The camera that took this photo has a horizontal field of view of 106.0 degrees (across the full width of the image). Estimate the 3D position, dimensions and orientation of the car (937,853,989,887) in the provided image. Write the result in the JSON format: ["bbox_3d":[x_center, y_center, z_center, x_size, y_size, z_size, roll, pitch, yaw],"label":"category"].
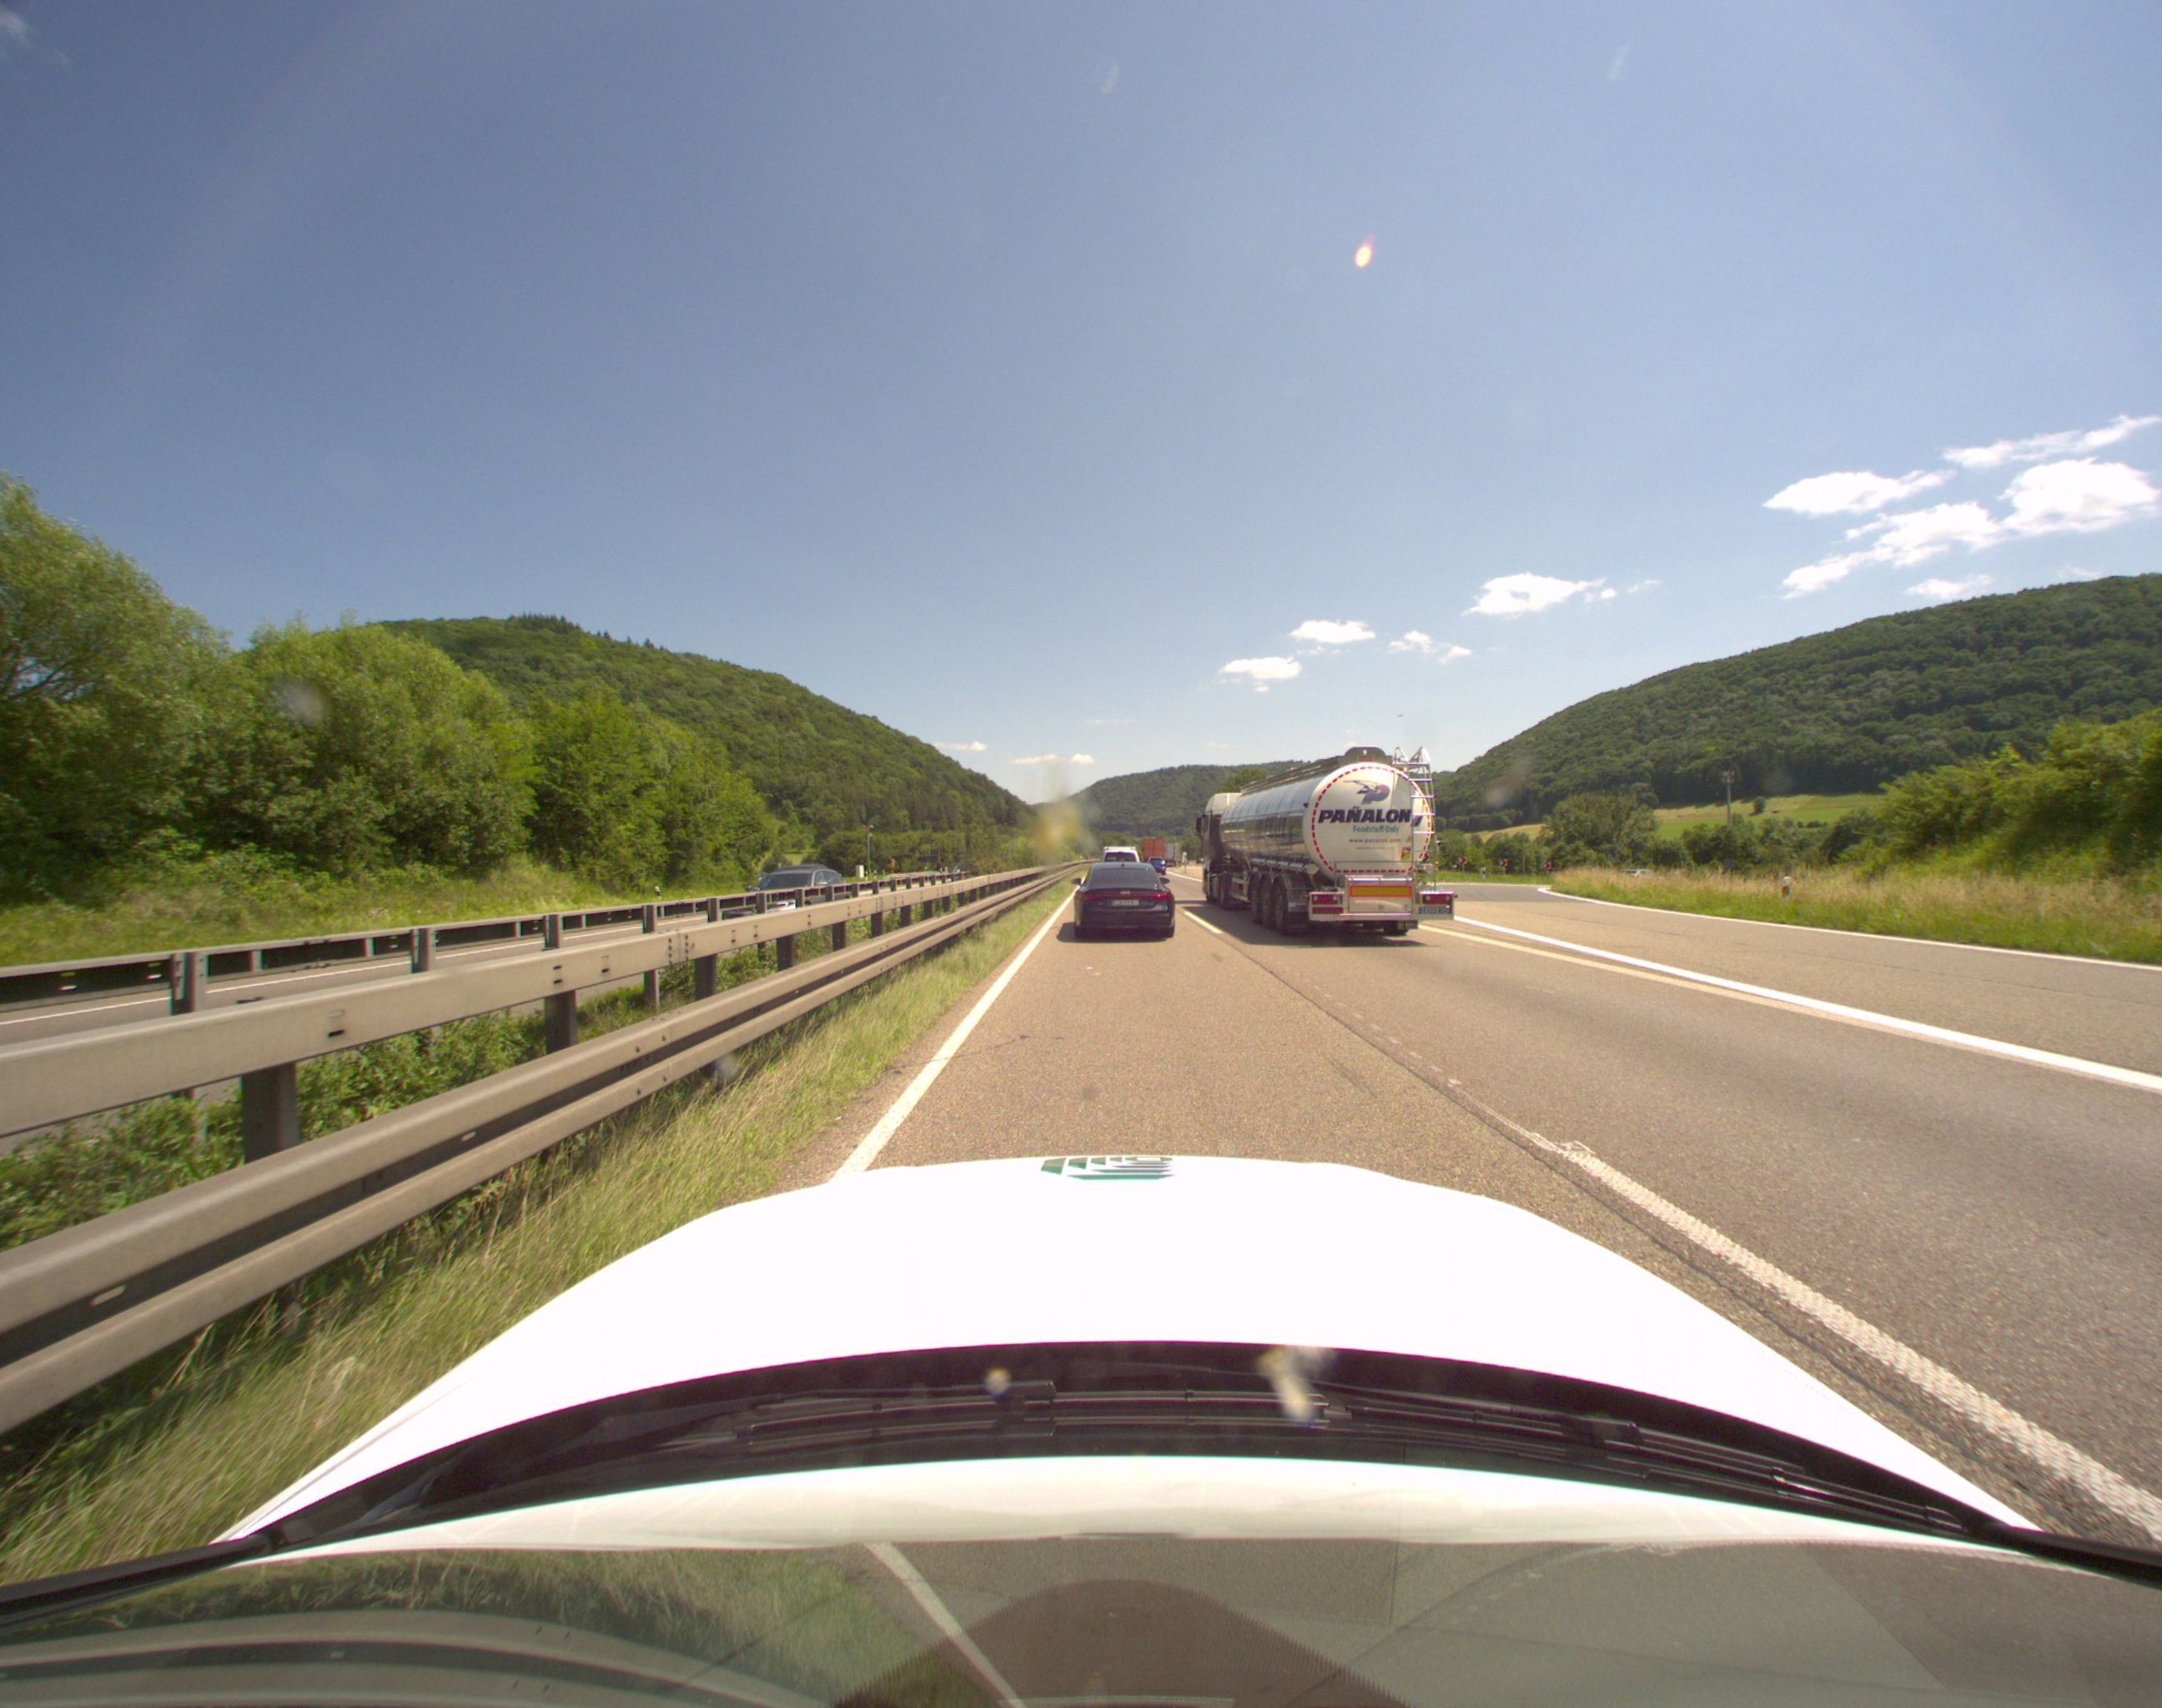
[{"bbox_3d":[-6.325,0.852,44.064,1.986,1.614,4.275,-3,-1,2],"label":"car"}]

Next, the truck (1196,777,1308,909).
[{"bbox_3d":[5.265,-0.303,25.904,2.502,3.758,5.246,-1,0,1],"label":"truck"}]

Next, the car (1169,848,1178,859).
[{"bbox_3d":[24.364,-0.185,214.605,1.986,2.935,4.901,-1,0,2],"label":"car"}]

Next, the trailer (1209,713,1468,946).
[{"bbox_3d":[5.110,-0.375,19.151,2.529,3.735,11.894,-1,0,1],"label":"trailer"}]

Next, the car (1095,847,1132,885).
[{"bbox_3d":[1.816,0.675,45.958,1.986,2.014,4.001,-1,0,2],"label":"car"}]

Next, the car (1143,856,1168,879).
[{"bbox_3d":[6.728,1.193,73.940,1.985,2.002,4.003,-2,0,3],"label":"car"}]

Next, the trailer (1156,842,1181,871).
[{"bbox_3d":[14.125,0.426,132.333,3.004,4.382,10.988,-1,0,1],"label":"trailer"}]

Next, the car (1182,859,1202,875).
[{"bbox_3d":[11.355,1.304,83.454,1.740,1.530,4.004,-1,-1,3],"label":"car"}]

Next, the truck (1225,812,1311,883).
[{"bbox_3d":[11.894,-0.336,53.483,2.806,4.003,14.964,-1,0,3],"label":"truck"}]

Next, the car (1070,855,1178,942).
[{"bbox_3d":[0.733,0.796,16.384,1.844,1.488,4.080,-1,0,-2],"label":"car"}]

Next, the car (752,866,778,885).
[{"bbox_3d":[-32.134,2.178,82.800,1.819,1.838,3.961,-1,0,-30],"label":"car"}]

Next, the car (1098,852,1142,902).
[{"bbox_3d":[1.506,0.858,32.022,1.570,1.833,4.001,-1,0,2],"label":"car"}]

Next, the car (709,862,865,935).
[{"bbox_3d":[-7.014,0.995,20.040,1.986,1.519,4.679,-1,-1,2],"label":"car"}]

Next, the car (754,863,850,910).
[{"bbox_3d":[-10.478,1.172,30.947,1.915,1.621,4.563,-1,-1,2],"label":"car"}]

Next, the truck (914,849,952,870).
[{"bbox_3d":[-20.573,0.808,113.898,3.569,2.695,8.447,-2,-1,0],"label":"truck"}]

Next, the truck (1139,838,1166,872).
[{"bbox_3d":[8.889,0.130,102.888,2.806,4.003,14.964,-1,0,3],"label":"truck"}]
